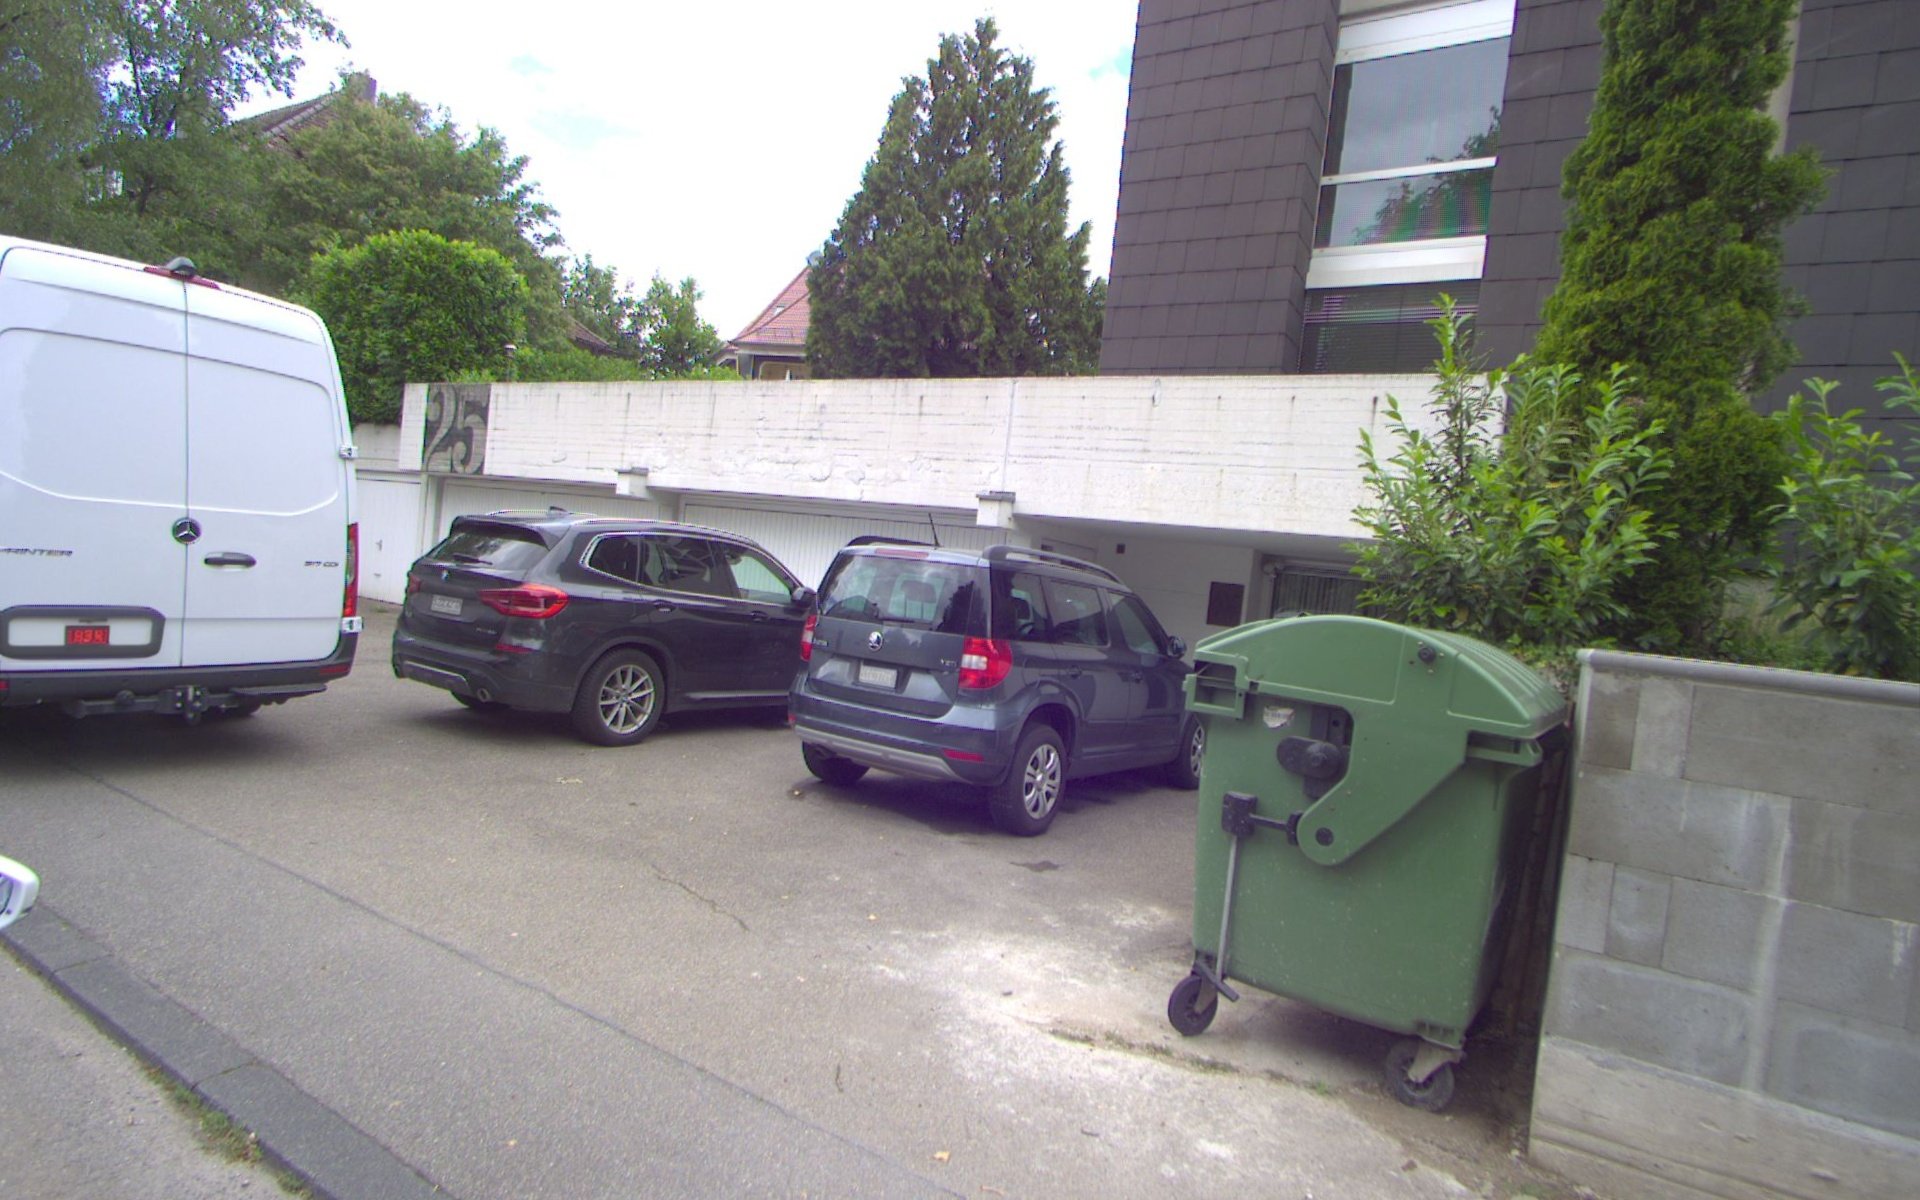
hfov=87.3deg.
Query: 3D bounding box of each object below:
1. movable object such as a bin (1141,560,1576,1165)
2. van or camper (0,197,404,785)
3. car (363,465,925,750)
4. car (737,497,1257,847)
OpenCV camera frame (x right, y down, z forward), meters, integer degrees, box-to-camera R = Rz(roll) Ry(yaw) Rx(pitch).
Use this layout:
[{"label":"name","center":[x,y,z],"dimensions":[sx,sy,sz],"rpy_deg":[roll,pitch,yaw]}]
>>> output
[{"label":"movable object such as a bin","center":[1.367,0.721,3.383],"dimensions":[1.016,1.550,1.034],"rpy_deg":[7,2,33]},{"label":"van or camper","center":[-6.690,-0.742,6.893],"dimensions":[6.432,2.653,1.995],"rpy_deg":[7,1,32]},{"label":"car","center":[-2.346,0.115,8.670],"dimensions":[1.710,1.772,4.418],"rpy_deg":[7,1,33]},{"label":"car","center":[0.549,0.445,7.389],"dimensions":[1.804,1.772,3.973],"rpy_deg":[7,1,35]}]
